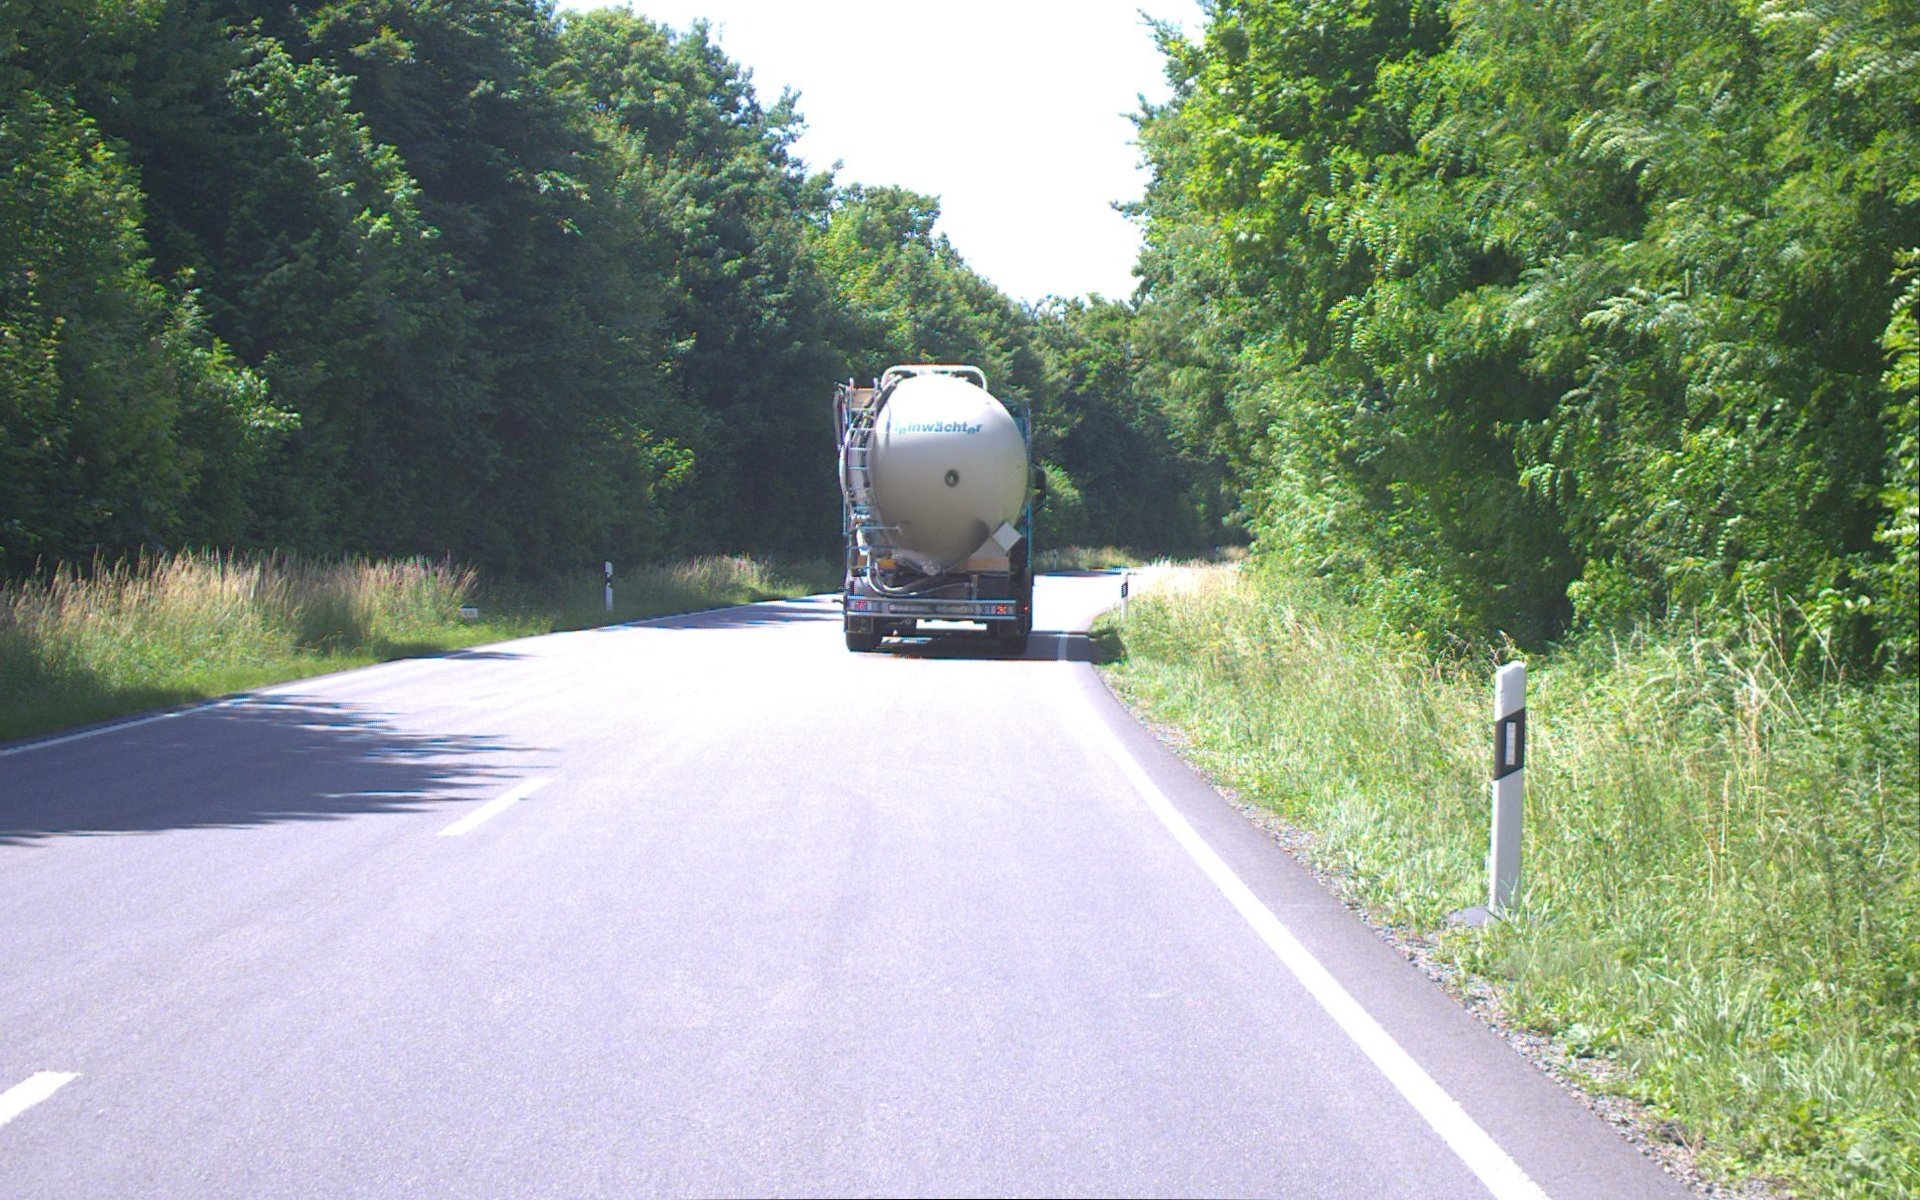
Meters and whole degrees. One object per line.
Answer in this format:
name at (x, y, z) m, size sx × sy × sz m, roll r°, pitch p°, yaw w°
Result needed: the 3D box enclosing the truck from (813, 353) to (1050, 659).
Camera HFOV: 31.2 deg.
truck at (-0.459, -1.381, 52.998) m, size 3.049 × 3.984 × 15.638 m, roll 1°, pitch 1°, yaw -1°
